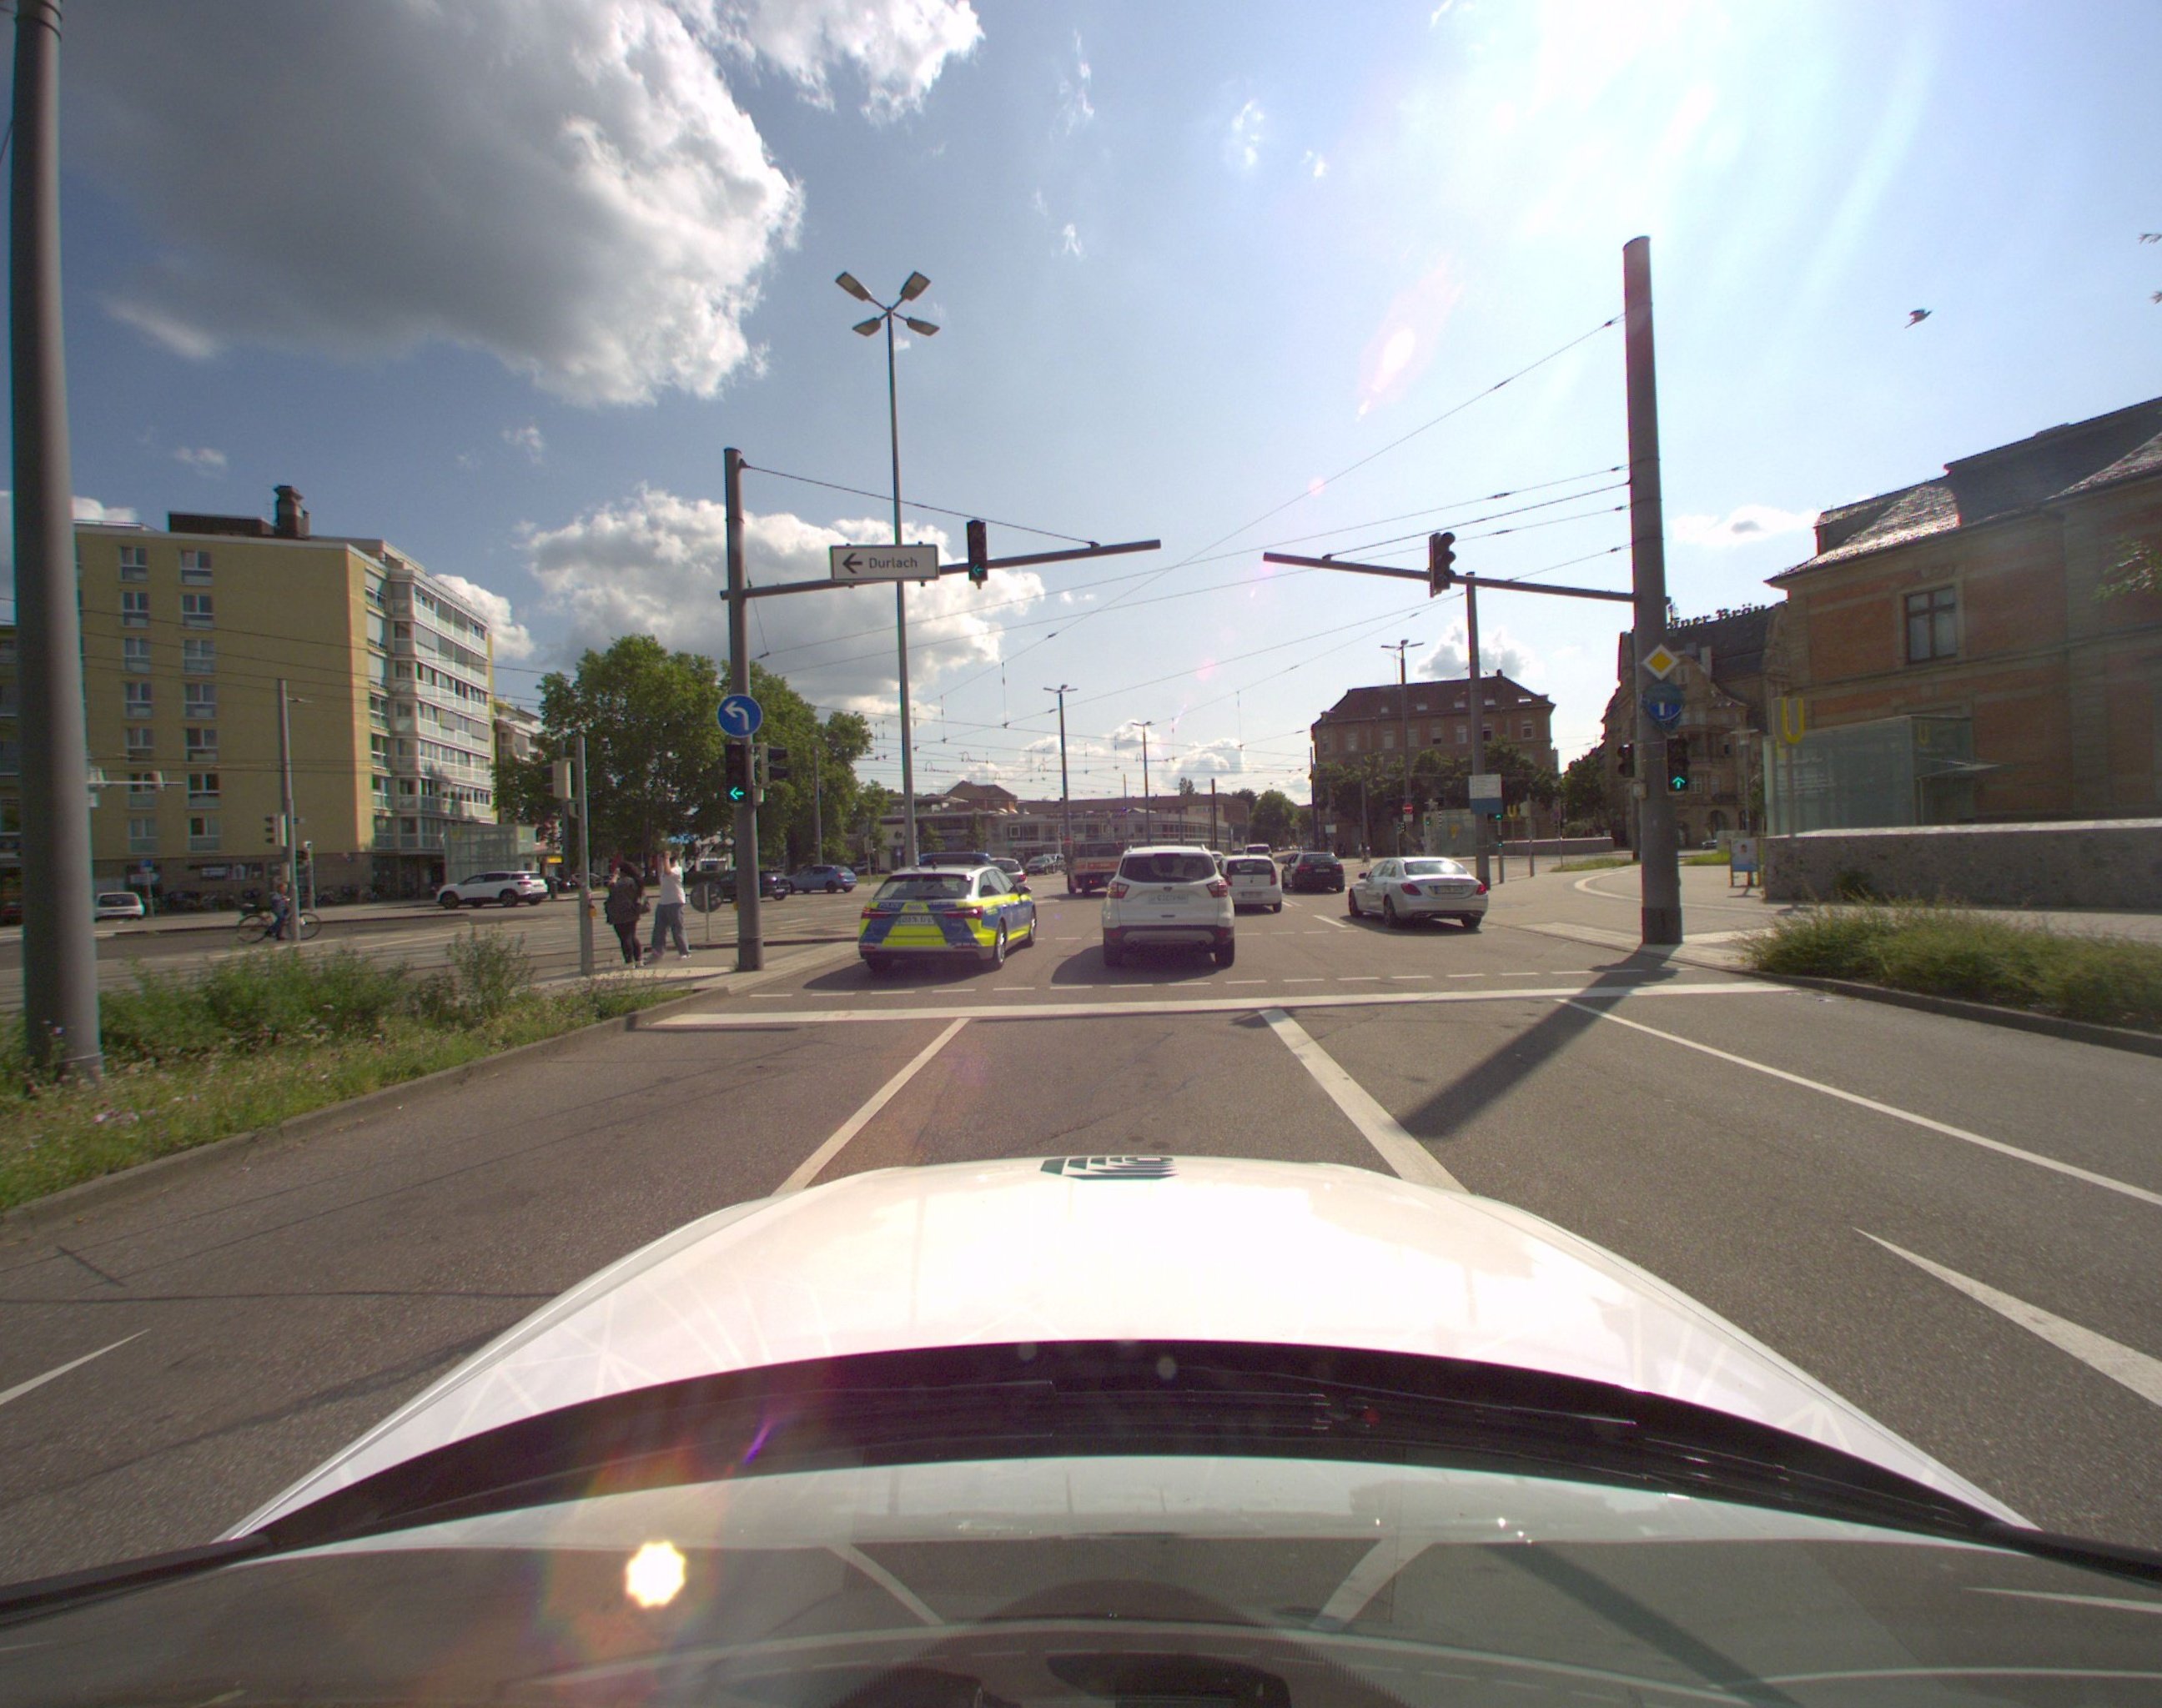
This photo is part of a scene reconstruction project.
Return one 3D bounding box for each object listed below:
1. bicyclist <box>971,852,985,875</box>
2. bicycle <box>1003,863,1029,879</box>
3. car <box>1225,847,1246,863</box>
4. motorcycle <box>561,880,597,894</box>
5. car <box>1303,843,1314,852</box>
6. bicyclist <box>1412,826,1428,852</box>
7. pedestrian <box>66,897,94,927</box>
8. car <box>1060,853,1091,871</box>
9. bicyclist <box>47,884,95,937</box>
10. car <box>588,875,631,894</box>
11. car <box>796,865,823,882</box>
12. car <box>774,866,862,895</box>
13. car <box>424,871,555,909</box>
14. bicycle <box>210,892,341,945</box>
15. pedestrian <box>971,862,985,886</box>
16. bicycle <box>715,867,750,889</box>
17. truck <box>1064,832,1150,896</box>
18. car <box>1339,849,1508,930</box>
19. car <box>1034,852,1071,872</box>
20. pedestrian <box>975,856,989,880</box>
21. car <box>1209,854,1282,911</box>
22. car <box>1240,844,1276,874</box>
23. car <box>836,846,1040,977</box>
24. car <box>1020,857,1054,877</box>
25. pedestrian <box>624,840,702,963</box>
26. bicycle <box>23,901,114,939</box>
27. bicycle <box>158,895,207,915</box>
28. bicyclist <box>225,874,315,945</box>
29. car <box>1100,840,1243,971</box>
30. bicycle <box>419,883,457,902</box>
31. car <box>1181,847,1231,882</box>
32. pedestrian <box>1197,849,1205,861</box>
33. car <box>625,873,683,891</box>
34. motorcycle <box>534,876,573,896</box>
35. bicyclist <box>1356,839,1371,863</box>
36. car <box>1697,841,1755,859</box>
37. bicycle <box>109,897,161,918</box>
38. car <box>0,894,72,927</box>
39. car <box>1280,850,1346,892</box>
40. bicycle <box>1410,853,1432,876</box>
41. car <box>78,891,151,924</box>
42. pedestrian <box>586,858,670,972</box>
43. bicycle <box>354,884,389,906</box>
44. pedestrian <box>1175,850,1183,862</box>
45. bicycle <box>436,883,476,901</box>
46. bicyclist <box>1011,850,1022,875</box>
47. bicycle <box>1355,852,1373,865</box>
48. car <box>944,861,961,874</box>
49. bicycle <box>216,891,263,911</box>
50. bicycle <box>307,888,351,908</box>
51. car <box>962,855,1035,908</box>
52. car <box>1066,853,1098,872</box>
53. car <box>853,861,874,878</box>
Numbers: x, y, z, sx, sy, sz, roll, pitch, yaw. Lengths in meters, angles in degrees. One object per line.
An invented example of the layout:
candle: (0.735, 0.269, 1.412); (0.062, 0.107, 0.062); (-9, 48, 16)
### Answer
bicyclist: (-8.106, 0.745, 64.007); (0.754, 1.683, 0.763); (-3, 0, 12)
bicycle: (-4.689, 1.219, 58.540); (1.770, 1.125, 0.641); (-2, 0, 5)
car: (14.785, 0.092, 77.943); (1.838, 1.419, 3.690); (-1, -1, 11)
motorcycle: (-36.359, 2.385, 58.993); (0.800, 0.917, 2.058); (-2, 1, 35)
car: (43.112, -1.243, 154.278); (1.822, 1.652, 4.018); (-2, -1, 18)
bicyclist: (16.557, -0.745, 39.799); (0.629, 1.220, 0.929); (-4, 1, 24)
pedestrian: (-53.158, 3.072, 43.269); (0.700, 1.534, 0.552); (-3, -1, -20)
car: (-0.522, 0.765, 78.388); (1.612, 1.461, 3.989); (-3, 0, 20)
bicyclist: (-35.373, 1.959, 28.540); (0.780, 1.797, 0.705); (0, -1, -22)
car: (-37.867, 2.446, 65.531); (1.908, 1.413, 3.981); (-3, -1, -14)
car: (-35.632, 2.547, 106.932); (1.963, 1.937, 5.063); (-4, -1, -2)
car: (-13.530, 1.369, 41.902); (3.957, 1.376, 1.749); (-2, -1, 15)
car: (-27.308, 1.648, 37.737); (4.510, 1.578, 2.046); (-1, 0, -1)
bicycle: (-21.035, 1.671, 21.327); (2.289, 1.188, 0.993); (-3, -1, -5)
pedestrian: (-7.600, 1.452, 59.999); (0.925, 1.744, 0.586); (0, -1, -14)
bicycle: (-24.611, 1.692, 57.587); (2.173, 1.414, 0.807); (-1, 0, -18)
truck: (0.832, 0.376, 30.615); (2.337, 2.155, 5.836); (-1, -1, -7)
car: (7.238, 0.674, 17.819); (1.922, 1.455, 4.763); (-2, 0, 4)
car: (-2.473, 0.682, 71.530); (1.722, 1.573, 4.021); (-3, 0, 21)
pedestrian: (-7.244, 1.003, 59.434); (0.925, 1.744, 0.586); (0, -1, -14)
car: (4.484, 0.722, 22.643); (1.641, 1.422, 4.007); (-1, 0, 6)
car: (10.285, 0.317, 47.568); (1.826, 1.652, 4.010); (-1, -1, 9)
car: (-1.904, 0.749, 12.429); (1.871, 1.568, 4.621); (-2, -1, 5)
car: (-3.393, 1.026, 63.423); (1.726, 1.373, 3.653); (-3, 0, 12)
pedestrian: (-6.813, 0.761, 13.307); (0.845, 1.917, 0.692); (-2, -1, -3)
bicycle: (-35.352, 2.275, 28.493); (0.890, 1.138, 2.341); (0, -1, -21)
bicycle: (-53.712, 3.051, 48.701); (1.811, 1.104, 0.791); (-2, 0, -21)
bicyclist: (-21.194, 1.433, 21.313); (1.295, 1.731, 0.993); (-3, -1, -5)
car: (1.232, 0.682, 12.509); (1.820, 1.664, 3.957); (-1, -1, 2)
bicycle: (-43.032, 2.565, 54.488); (1.810, 1.147, 0.791); (-2, 0, -20)
car: (5.450, 0.463, 35.782); (1.842, 1.419, 3.682); (-1, 0, 4)
pedestrian: (19.177, 0.229, 130.180); (0.867, 1.922, 0.882); (-1, -1, 31)
car: (-36.033, 2.366, 68.753); (3.980, 1.327, 1.630); (-3, -1, -5)
motorcycle: (-35.088, 2.131, 54.206); (2.195, 1.238, 0.909); (-2, 1, 15)
bicyclist: (17.965, -0.178, 51.801); (0.606, 1.451, 0.774); (-2, -1, 0)
car: (58.663, -0.384, 74.029); (4.540, 1.430, 2.032); (-2, -2, -21)
bicycle: (-55.618, 3.126, 47.907); (1.811, 1.104, 0.791); (-2, 0, -21)
car: (-51.826, 2.803, 40.288); (3.849, 1.497, 1.912); (-3, -2, 32)
car: (8.343, 0.560, 29.602); (1.689, 1.372, 4.141); (-2, 0, 7)
bicycle: (16.631, 0.493, 39.824); (0.839, 0.970, 1.972); (-5, -1, 25)
car: (-49.843, 2.760, 41.986); (3.849, 1.497, 1.912); (-3, -2, 33)
pedestrian: (-6.895, 0.913, 12.438); (0.845, 1.648, 0.692); (-2, -1, -3)
bicycle: (-45.884, 2.642, 52.677); (0.793, 1.258, 1.806); (-2, 0, -6)
pedestrian: (14.954, 0.281, 124.601); (0.866, 1.737, 0.882); (-1, -1, 34)
bicycle: (-42.805, 2.594, 55.801); (1.950, 1.147, 0.791); (-2, 0, -20)
bicyclist: (-4.656, 0.621, 58.501); (0.657, 1.738, 0.640); (-1, 0, 4)
bicycle: (17.995, 0.298, 51.840); (0.583, 0.775, 1.621); (-2, 0, 0)
car: (-16.529, 1.705, 104.999); (1.816, 1.534, 3.908); (-4, -1, -6)
bicycle: (-51.185, 2.829, 49.548); (1.811, 1.104, 0.791); (-2, 0, -21)
bicycle: (-46.838, 2.722, 50.743); (1.811, 1.104, 0.791); (-2, 0, -21)
car: (-2.676, 0.817, 25.641); (1.849, 1.474, 3.984); (-2, 0, -11)
car: (0.150, 0.695, 71.001); (1.676, 1.461, 3.985); (-3, 0, 16)
car: (-28.311, 2.071, 106.143); (1.991, 2.014, 4.221); (-4, -1, -6)
